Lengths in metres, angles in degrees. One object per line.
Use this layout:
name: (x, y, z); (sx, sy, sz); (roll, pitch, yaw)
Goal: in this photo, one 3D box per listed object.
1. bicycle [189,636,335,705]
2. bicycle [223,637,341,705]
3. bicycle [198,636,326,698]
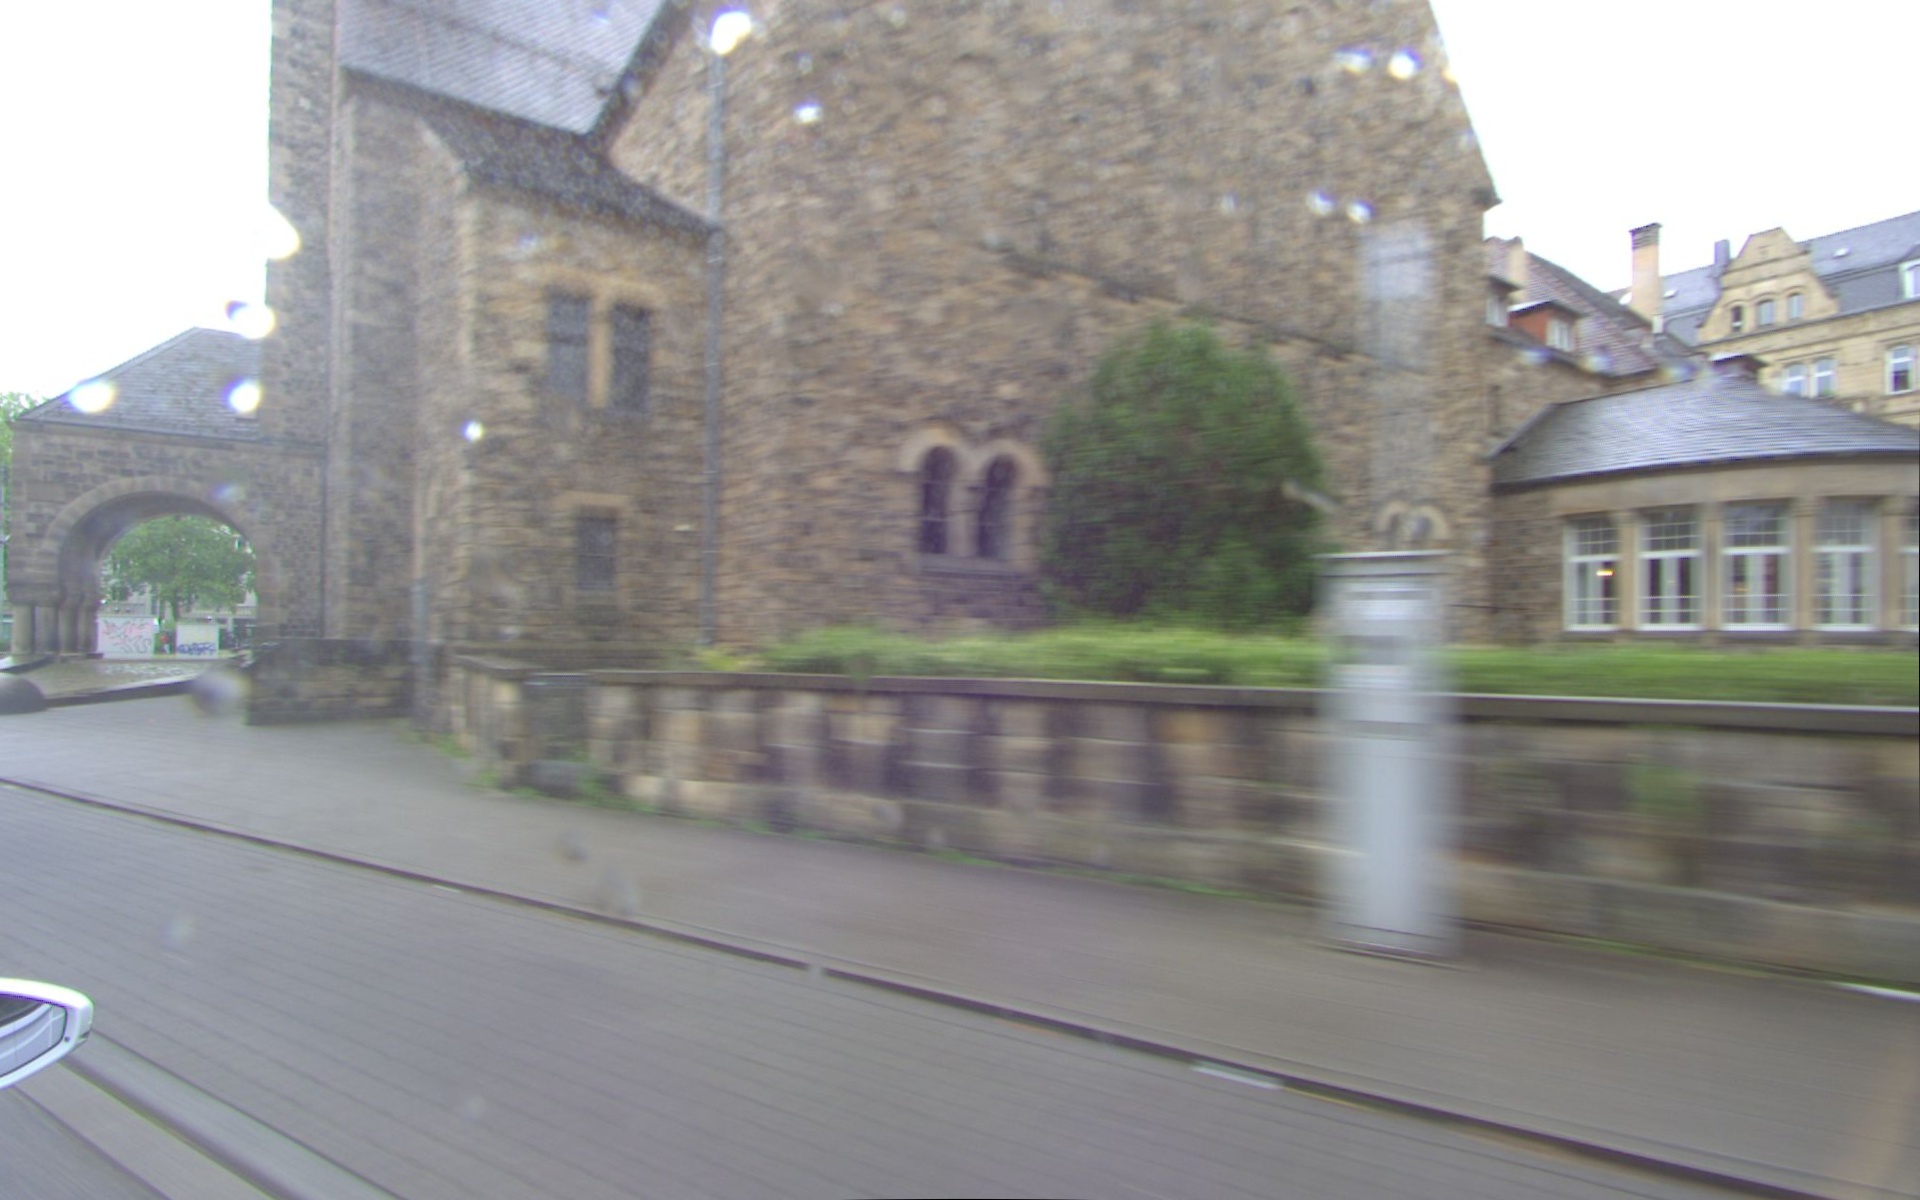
bicycle: (-11.818, 1.174, 17.007); (1.971, 1.068, 0.508); (0, -1, -44)
bicycle: (-12.224, 1.253, 18.089); (1.697, 1.126, 0.556); (0, -1, -44)
bicycle: (-13.630, 1.277, 19.595); (0.684, 1.119, 1.972); (-1, -1, 44)
